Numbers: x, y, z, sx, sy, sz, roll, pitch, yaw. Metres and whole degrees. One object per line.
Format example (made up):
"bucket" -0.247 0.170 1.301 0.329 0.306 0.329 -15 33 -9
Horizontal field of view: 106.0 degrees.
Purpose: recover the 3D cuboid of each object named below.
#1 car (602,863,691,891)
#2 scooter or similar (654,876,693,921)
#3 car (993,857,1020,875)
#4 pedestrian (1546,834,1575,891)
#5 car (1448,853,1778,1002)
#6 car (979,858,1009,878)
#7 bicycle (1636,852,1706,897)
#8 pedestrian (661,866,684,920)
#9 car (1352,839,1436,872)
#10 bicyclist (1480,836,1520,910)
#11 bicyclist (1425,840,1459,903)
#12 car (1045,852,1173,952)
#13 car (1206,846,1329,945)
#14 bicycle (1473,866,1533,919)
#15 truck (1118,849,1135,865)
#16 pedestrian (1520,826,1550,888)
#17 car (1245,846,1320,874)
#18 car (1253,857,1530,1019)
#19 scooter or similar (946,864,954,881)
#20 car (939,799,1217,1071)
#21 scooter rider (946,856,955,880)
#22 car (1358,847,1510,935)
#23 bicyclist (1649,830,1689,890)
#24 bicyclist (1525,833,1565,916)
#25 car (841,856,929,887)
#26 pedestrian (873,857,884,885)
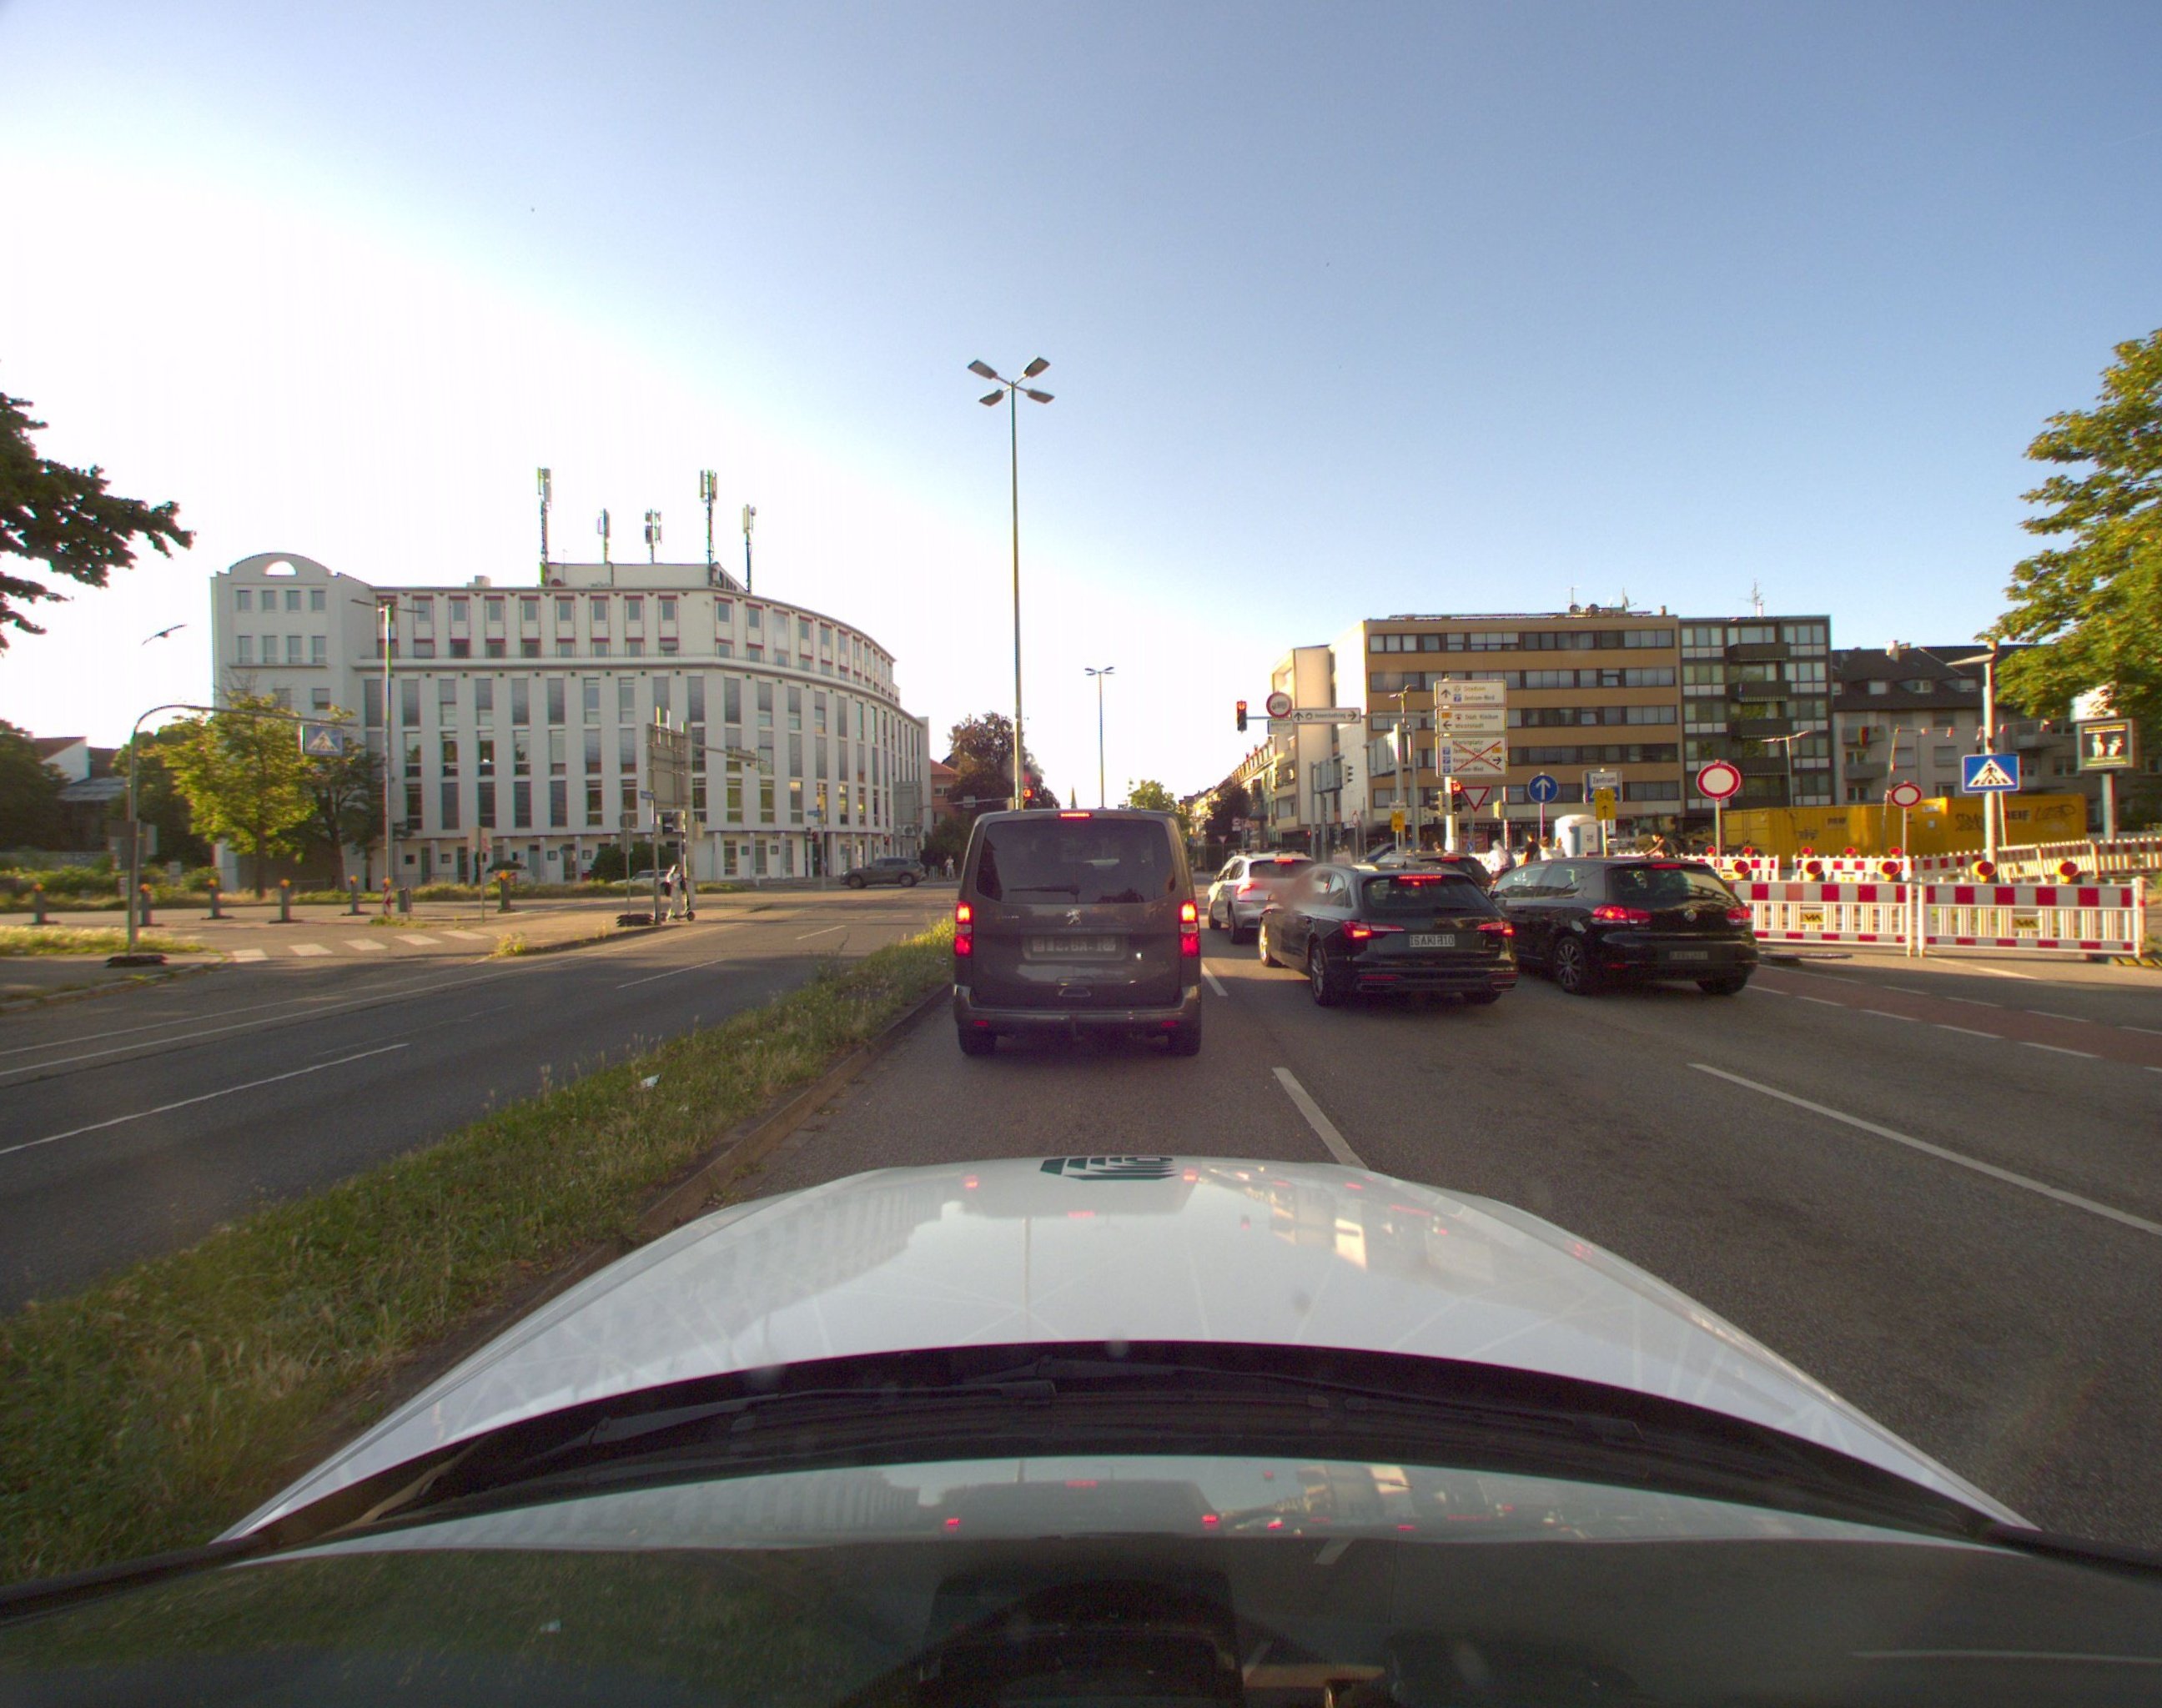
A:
"car" -24.485 1.288 45.989 3.979 1.420 1.785 -2 0 -4
"scooter or similar" -11.498 1.247 22.978 0.893 1.234 0.370 -2 0 -10
"car" -6.225 0.998 68.415 1.850 1.420 4.000 -2 0 0
"pedestrian" 14.510 0.255 24.646 0.603 1.671 0.451 -1 0 -19
"car" 6.016 0.715 9.798 1.627 1.449 3.746 0 0 2
"car" -6.684 1.047 62.860 1.850 1.420 4.000 -2 0 0
"bicycle" 15.860 0.538 21.904 1.481 1.161 0.376 1 1 42
"pedestrian" -11.603 1.110 23.135 0.474 1.505 0.334 -1 0 -10
"car" 18.523 0.087 48.280 4.211 1.817 1.995 -2 0 -7
"bicyclist" 8.917 0.401 17.353 0.439 1.525 0.725 -2 0 2
"bicyclist" 8.983 0.432 20.289 0.511 1.525 0.725 -2 0 1
"car" 0.508 0.755 14.904 1.986 1.530 4.002 -2 0 2
"car" 3.316 0.676 15.114 1.523 1.613 3.746 0 0 2
"bicycle" 8.917 0.786 17.269 0.335 1.008 1.856 -2 0 2
"truck" 6.183 0.372 110.537 2.118 2.087 4.636 -2 0 4
"pedestrian" 13.696 0.095 24.585 0.570 1.834 0.485 -1 0 -13
"car" 11.309 0.341 45.779 3.674 1.387 1.691 -3 0 -10
"car" 3.194 0.753 9.324 1.675 1.421 4.215 0 0 2
"scooter or similar" -9.457 1.359 58.790 0.284 1.189 1.169 -2 0 2
"car" 0.049 0.559 7.857 1.900 1.863 4.528 0 0 2
"scooter rider" -9.456 1.006 58.903 0.479 1.697 0.636 -2 0 1
"car" 6.514 0.622 15.387 1.499 1.449 3.306 -2 0 2
"bicyclist" 15.832 0.153 21.932 0.804 1.589 0.623 0 1 42
"bicyclist" 8.649 0.379 15.200 0.439 1.525 0.482 -2 0 1
"car" -10.476 0.919 43.723 4.332 1.549 1.784 -2 0 -6
"pedestrian" -12.811 1.056 51.540 0.626 1.722 0.668 -2 0 -12
